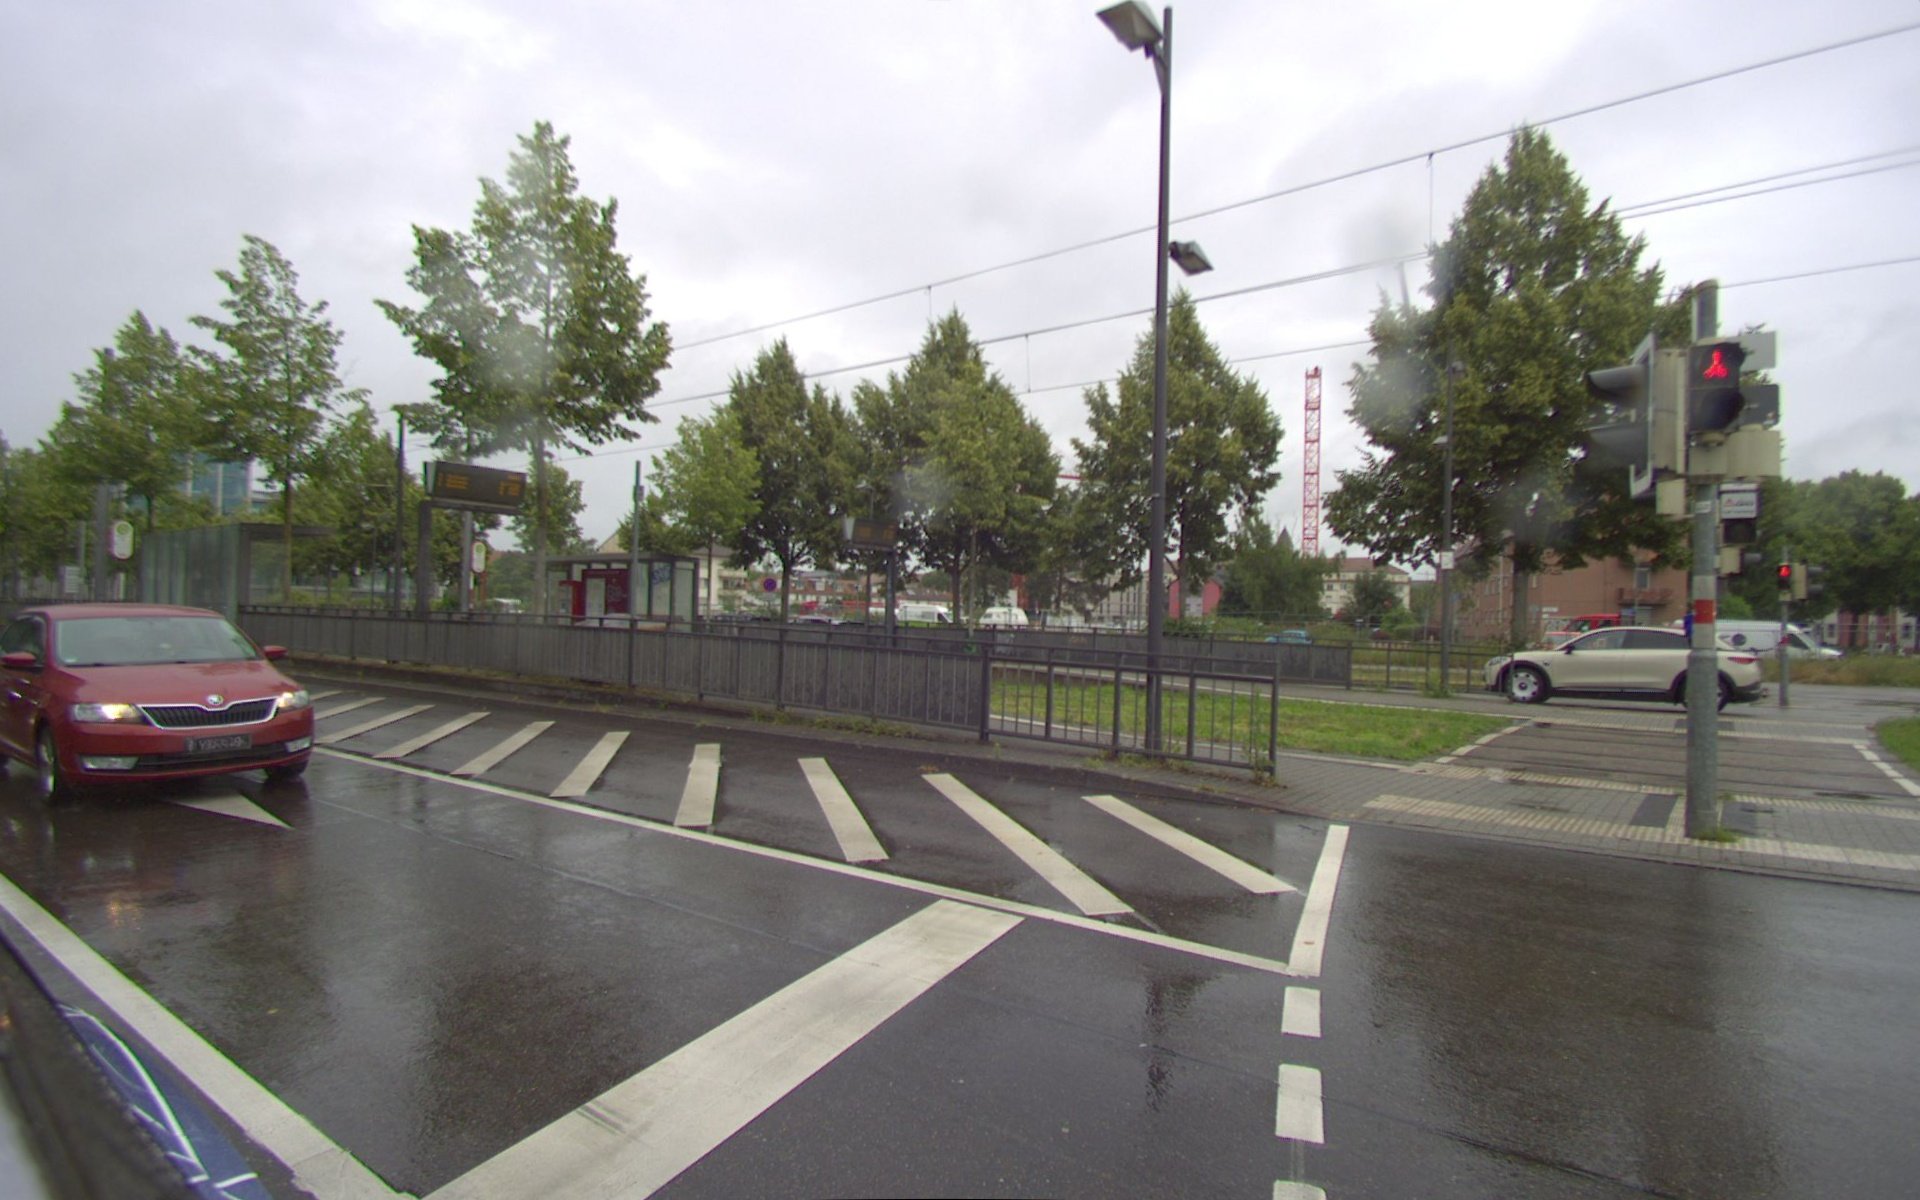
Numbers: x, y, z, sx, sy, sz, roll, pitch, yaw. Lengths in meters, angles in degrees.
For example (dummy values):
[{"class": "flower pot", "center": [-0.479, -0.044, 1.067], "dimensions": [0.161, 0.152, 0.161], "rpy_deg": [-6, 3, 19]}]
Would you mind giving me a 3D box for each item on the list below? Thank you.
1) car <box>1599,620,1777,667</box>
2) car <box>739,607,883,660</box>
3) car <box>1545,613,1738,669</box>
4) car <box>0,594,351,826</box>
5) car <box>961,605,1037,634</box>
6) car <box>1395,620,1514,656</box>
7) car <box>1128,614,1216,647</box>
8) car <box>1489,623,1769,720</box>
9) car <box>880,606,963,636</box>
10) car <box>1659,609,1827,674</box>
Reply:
[{"class": "car", "center": [33.961, 1.978, 47.425], "dimensions": [2.320, 2.029, 6.437], "rpy_deg": [2, -2, -41]}, {"class": "car", "center": [-4.755, 1.007, 32.016], "dimensions": [4.619, 1.497, 1.808], "rpy_deg": [0, 1, 38]}, {"class": "car", "center": [28.712, 1.652, 42.866], "dimensions": [2.320, 2.029, 6.438], "rpy_deg": [-1, 1, -41]}, {"class": "car", "center": [-6.962, 0.694, 8.528], "dimensions": [4.310, 1.470, 1.766], "rpy_deg": [0, 1, 39]}, {"class": "car", "center": [3.586, 1.761, 93.307], "dimensions": [6.821, 2.495, 2.472], "rpy_deg": [0, 1, 35]}, {"class": "car", "center": [30.125, 2.281, 61.941], "dimensions": [6.387, 2.029, 2.339], "rpy_deg": [0, 1, 23]}, {"class": "car", "center": [17.520, 2.494, 83.606], "dimensions": [6.797, 2.495, 2.337], "rpy_deg": [1, -1, 25]}, {"class": "car", "center": [12.402, 1.242, 18.970], "dimensions": [4.218, 1.497, 1.830], "rpy_deg": [0, 1, 36]}, {"class": "car", "center": [-3.485, 1.816, 90.032], "dimensions": [7.621, 2.495, 2.329], "rpy_deg": [0, 1, 35]}, {"class": "car", "center": [39.589, 1.994, 51.340], "dimensions": [2.320, 2.961, 6.438], "rpy_deg": [-1, 1, -41]}]
